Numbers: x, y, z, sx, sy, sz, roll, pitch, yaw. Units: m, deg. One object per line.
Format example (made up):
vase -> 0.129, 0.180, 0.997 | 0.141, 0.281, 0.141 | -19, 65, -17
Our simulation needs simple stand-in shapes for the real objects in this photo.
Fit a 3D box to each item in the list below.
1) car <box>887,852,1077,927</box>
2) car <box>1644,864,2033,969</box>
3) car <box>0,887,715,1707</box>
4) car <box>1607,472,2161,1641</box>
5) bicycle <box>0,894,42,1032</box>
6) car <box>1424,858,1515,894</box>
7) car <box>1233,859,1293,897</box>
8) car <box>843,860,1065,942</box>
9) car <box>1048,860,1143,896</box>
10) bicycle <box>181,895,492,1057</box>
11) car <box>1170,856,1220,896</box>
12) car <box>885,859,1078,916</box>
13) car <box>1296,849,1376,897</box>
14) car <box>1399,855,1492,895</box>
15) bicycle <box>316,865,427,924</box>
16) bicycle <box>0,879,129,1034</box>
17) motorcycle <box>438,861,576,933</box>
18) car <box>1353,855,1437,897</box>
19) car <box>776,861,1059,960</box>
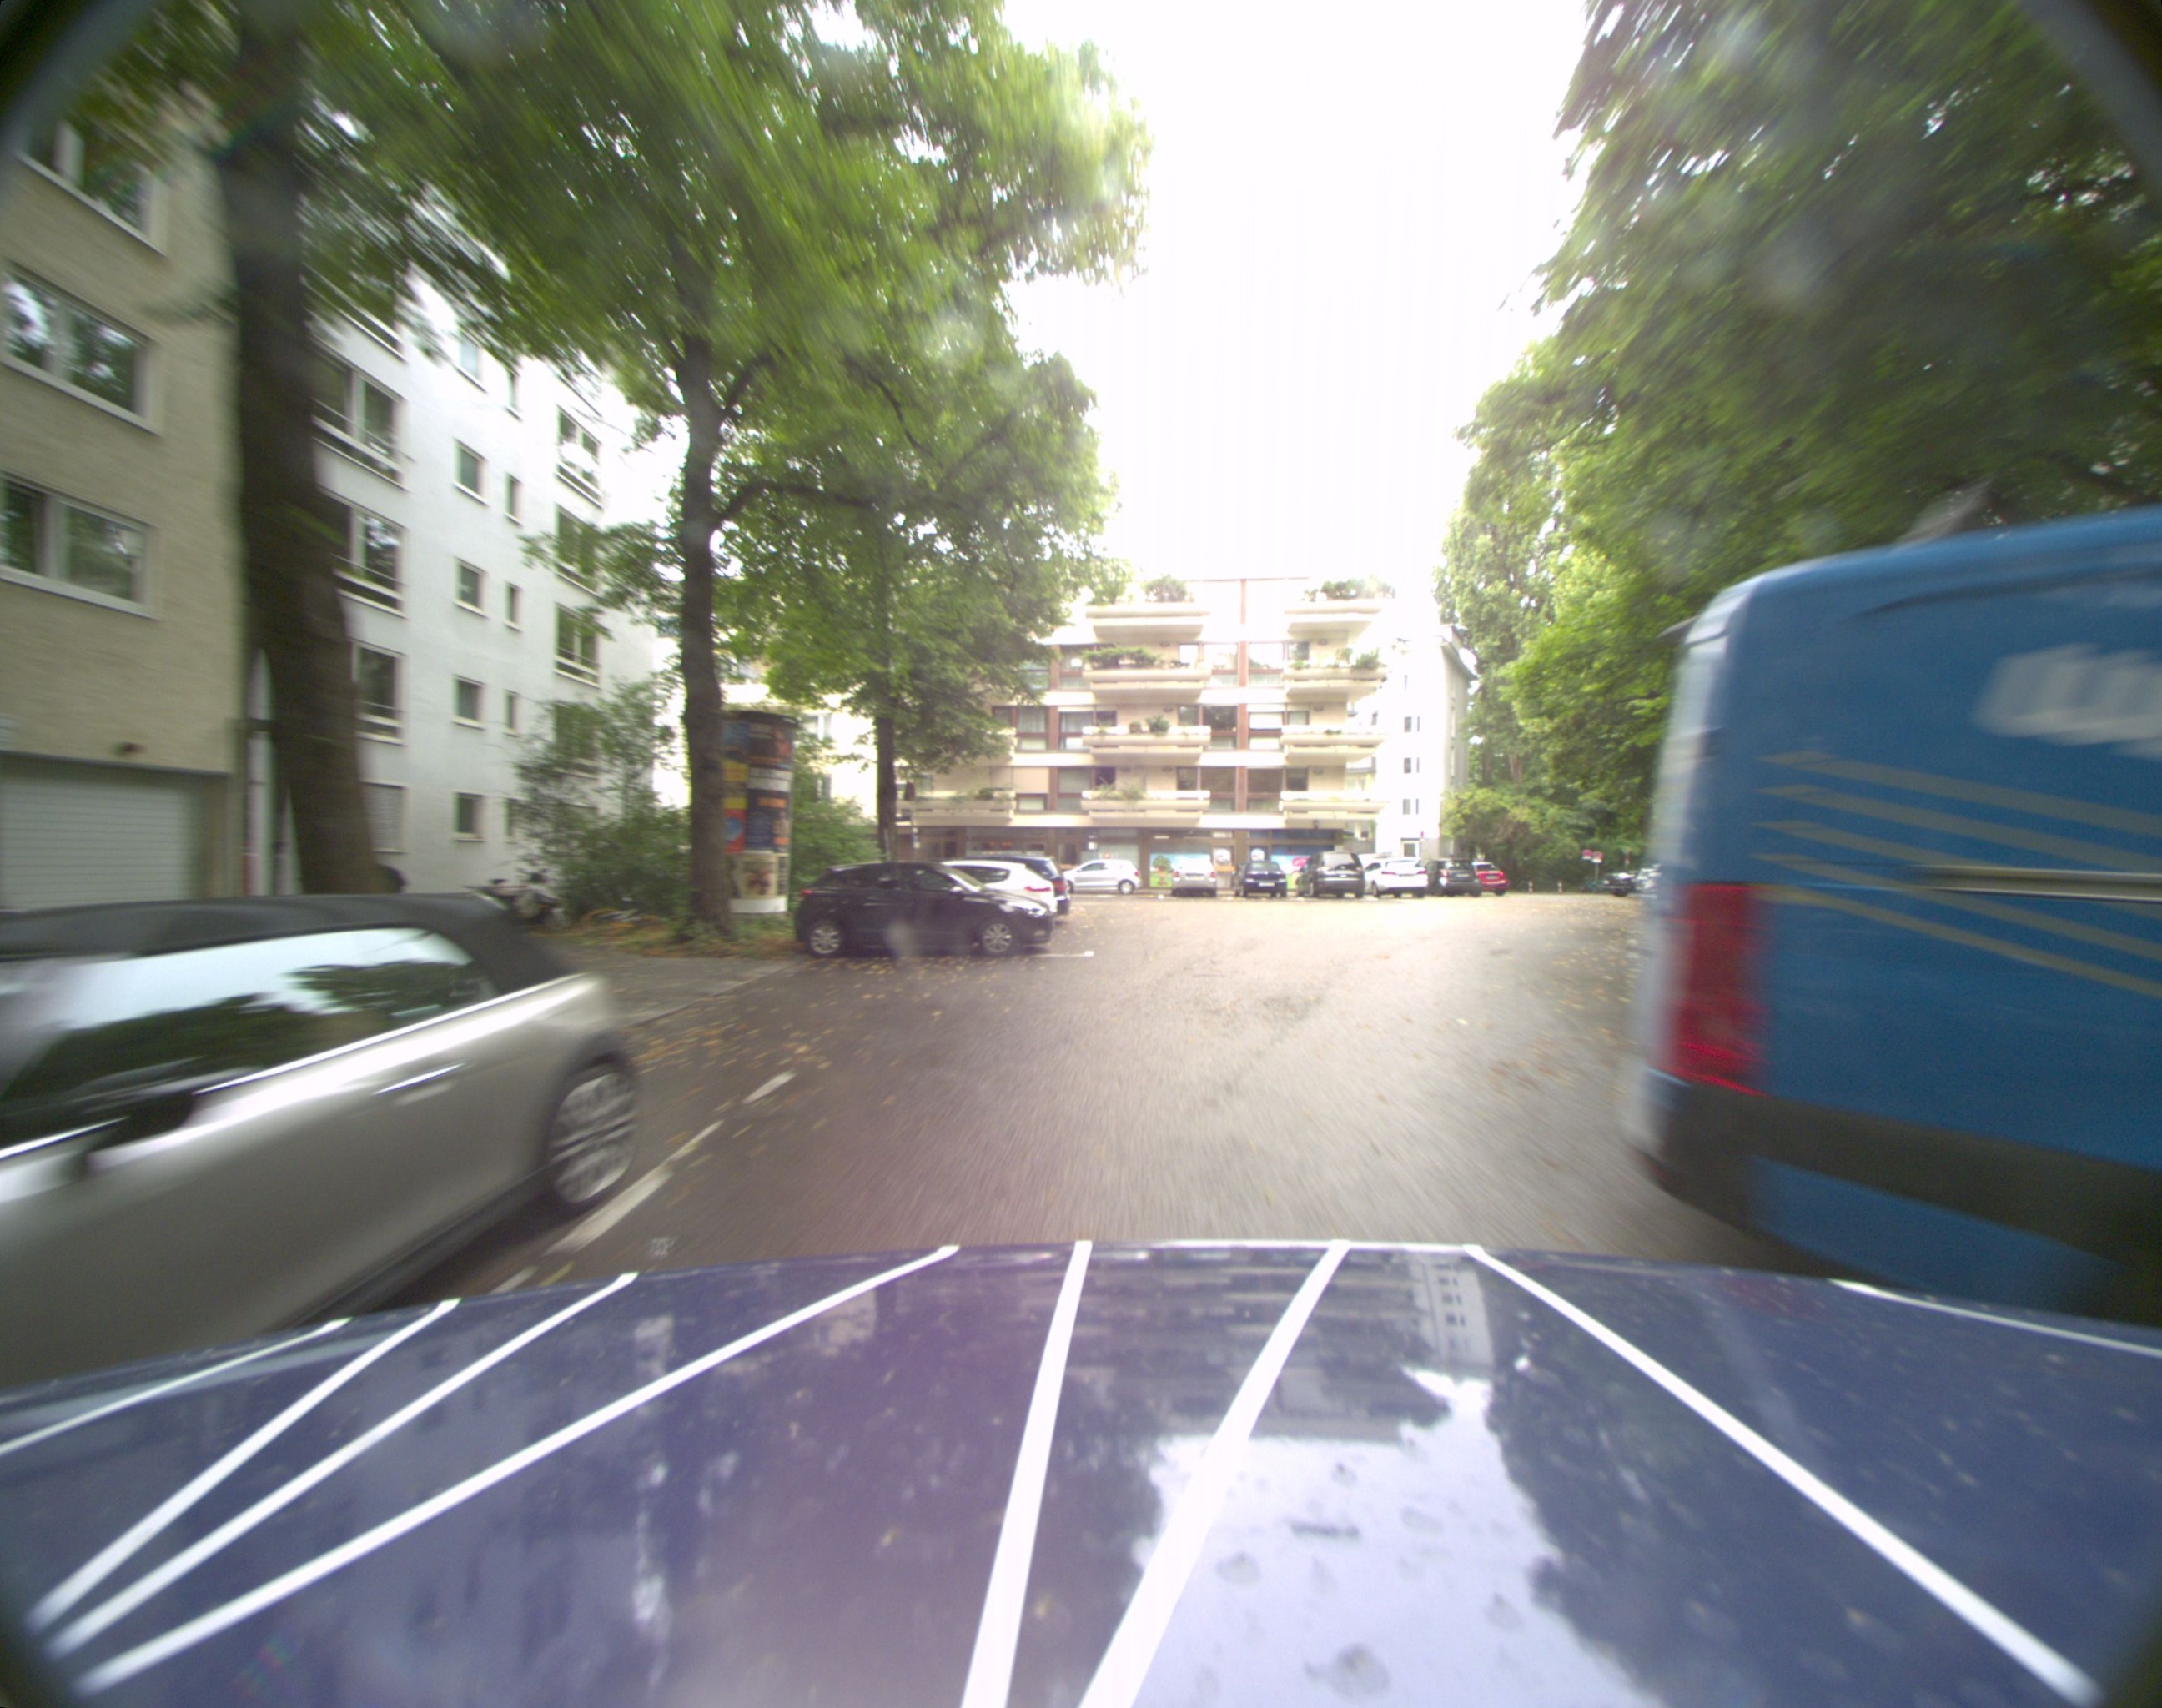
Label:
car -> -2.100, 0.750, 16.968 | 3.981, 1.546, 1.756 | 0, 1, 0
car -> 12.420, 0.938, 12.943 | 4.330, 1.375, 1.848 | 2, 1, 30
car -> -3.040, 0.943, 2.117 | 1.903, 1.405, 4.428 | 1, 1, 0
car -> 4.301, 0.502, 1.263 | 5.478, 2.341, 2.070 | 4, 3, 36
bicycle -> -9.827, 0.904, 6.089 | 1.877, 1.117, 0.539 | 0, 1, -12
car -> 16.811, 0.909, 33.110 | 1.755, 1.390, 3.998 | 0, 1, -3
car -> 6.966, 0.922, 29.414 | 1.715, 1.359, 4.075 | 0, -2, 5
car -> -2.324, 0.863, 14.593 | 3.946, 1.439, 1.826 | 1, 1, -4
car -> 0.626, 0.989, 31.359 | 3.829, 1.413, 1.567 | 0, -2, 5
bicycle -> -6.409, 0.985, 6.726 | 1.874, 1.157, 0.764 | 0, 1, -37
car -> 4.399, 0.901, 29.783 | 1.719, 1.446, 4.245 | 0, -3, 5
car -> -2.490, 0.841, 19.677 | 4.731, 1.369, 1.959 | 0, 1, -4
car -> 9.571, 0.734, 28.840 | 1.900, 1.673, 4.237 | 0, -2, 4
car -> 14.629, 0.896, 30.739 | 1.834, 1.470, 4.001 | 1, -3, -1
bicycle -> -13.672, 0.752, 14.708 | 0.539, 1.017, 1.701 | 4, 1, 0
bicycle -> -8.626, 0.765, 5.727 | 1.877, 1.117, 0.539 | 0, 1, -12
motorcycle -> -9.890, 0.736, 13.147 | 1.807, 1.191, 0.691 | 0, 1, -7
car -> 11.837, 0.862, 28.916 | 1.833, 1.470, 4.003 | 1, -3, 4
car -> -2.454, 0.836, 12.077 | 4.092, 1.386, 1.735 | 0, 1, 2
